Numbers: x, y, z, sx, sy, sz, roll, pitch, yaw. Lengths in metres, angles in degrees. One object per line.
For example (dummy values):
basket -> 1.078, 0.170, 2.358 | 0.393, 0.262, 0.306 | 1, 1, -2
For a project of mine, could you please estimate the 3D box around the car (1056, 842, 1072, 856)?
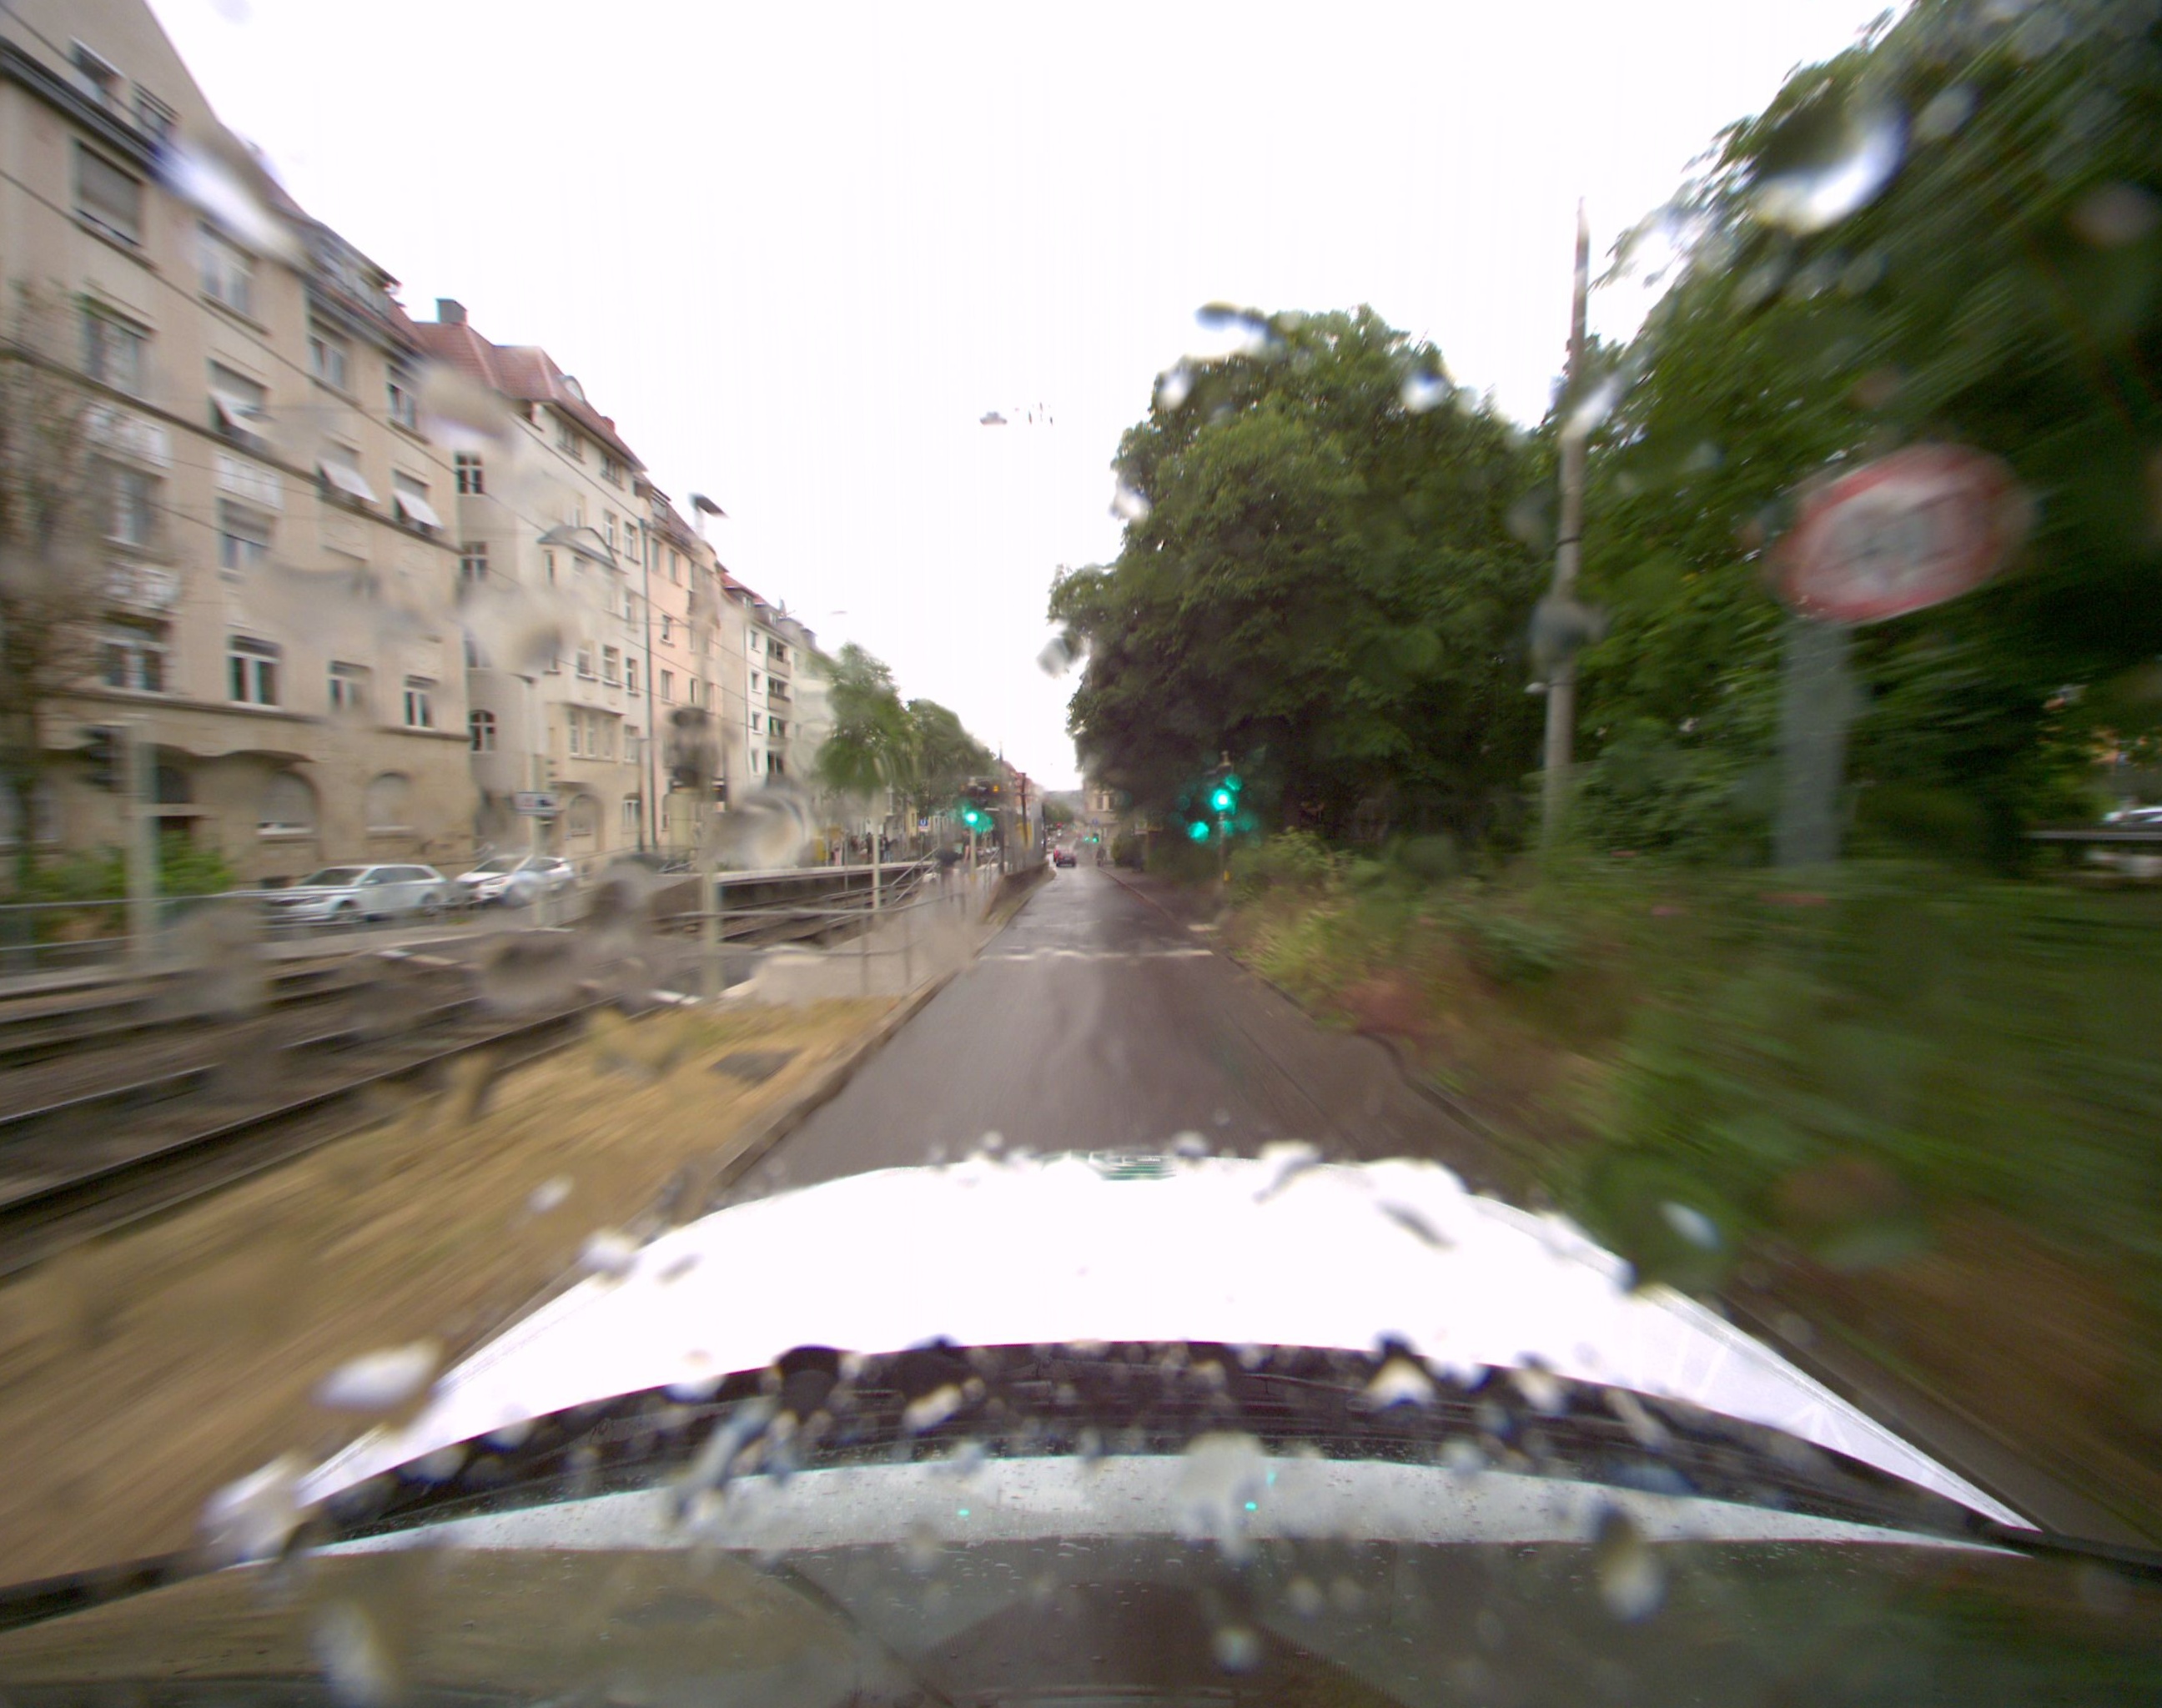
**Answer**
car -> -2.265, -0.673, 107.905 | 1.943, 1.793, 4.141 | -1, 0, -2

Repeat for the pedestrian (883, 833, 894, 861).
pedestrian -> -12.349, -0.434, 52.192 | 0.481, 1.741, 0.563 | -3, 0, -1

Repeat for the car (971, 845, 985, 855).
car -> -17.222, -0.727, 136.615 | 1.768, 1.546, 4.254 | -3, 1, 0

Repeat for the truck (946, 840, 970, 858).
truck -> -17.418, -0.720, 115.446 | 2.043, 2.393, 6.326 | -1, 0, 3

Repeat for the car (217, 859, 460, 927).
car -> -18.684, 0.923, 20.869 | 1.987, 1.533, 4.532 | 1, -1, 1

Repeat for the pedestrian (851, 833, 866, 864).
pedestrian -> -12.404, -0.313, 45.408 | 0.548, 1.666, 0.614 | -3, 0, -1

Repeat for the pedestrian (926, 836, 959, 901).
pedestrian -> -3.514, 0.353, 20.696 | 0.648, 1.561, 0.684 | -1, 5, 0

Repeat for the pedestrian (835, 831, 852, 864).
pedestrian -> -12.235, -0.316, 41.934 | 0.592, 1.666, 0.762 | -3, 0, 0

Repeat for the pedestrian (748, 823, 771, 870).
pedestrian -> -12.804, -0.294, 32.425 | 0.514, 1.838, 0.762 | -3, 0, 0

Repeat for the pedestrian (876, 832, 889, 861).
pedestrian -> -11.855, -0.453, 48.723 | 0.548, 1.741, 0.614 | -3, 0, -1

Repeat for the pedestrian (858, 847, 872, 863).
pedestrian -> -12.346, 0.059, 46.565 | 0.548, 0.872, 0.614 | -3, 0, -1

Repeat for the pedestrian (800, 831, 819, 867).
pedestrian -> -12.829, -0.216, 38.501 | 0.592, 1.666, 0.762 | -3, 0, 0

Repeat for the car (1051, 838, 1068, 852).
car -> -2.350, -0.981, 89.315 | 1.847, 1.473, 3.997 | -1, 0, -2

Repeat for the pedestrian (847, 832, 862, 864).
pedestrian -> -12.298, -0.316, 44.282 | 0.592, 1.666, 0.591 | -3, 0, -1

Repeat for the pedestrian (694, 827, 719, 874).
pedestrian -> -12.934, -0.126, 28.123 | 0.514, 1.605, 0.563 | -3, 0, -1

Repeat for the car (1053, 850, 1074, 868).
car -> -1.615, 0.426, 74.506 | 1.847, 1.473, 3.998 | -1, 1, -1

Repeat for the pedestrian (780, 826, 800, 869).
pedestrian -> -12.842, -0.297, 35.964 | 0.514, 1.838, 0.762 | -3, 0, 0

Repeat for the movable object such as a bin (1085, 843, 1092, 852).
movable object such as a bin -> 1.358, -1.157, 145.337 | 1.165, 1.655, 1.307 | -3, 1, -4

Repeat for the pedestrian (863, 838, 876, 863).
pedestrian -> -12.325, -0.215, 47.464 | 0.548, 1.413, 0.614 | -3, 0, -1

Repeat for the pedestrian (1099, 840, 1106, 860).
pedestrian -> 1.931, -0.337, 74.025 | 0.552, 1.813, 0.650 | -1, 0, -3

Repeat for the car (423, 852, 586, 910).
car -> -18.543, 0.798, 26.500 | 1.916, 1.622, 4.537 | -2, 1, 1

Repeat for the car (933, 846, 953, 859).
car -> -17.780, -0.193, 105.288 | 1.720, 1.515, 4.497 | -1, 1, 1

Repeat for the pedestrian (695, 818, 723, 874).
pedestrian -> -12.581, -0.264, 27.552 | 0.559, 1.850, 0.598 | -3, 0, -1

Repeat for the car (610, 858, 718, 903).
car -> -17.948, 1.082, 35.353 | 1.985, 1.732, 4.817 | -2, 0, 2

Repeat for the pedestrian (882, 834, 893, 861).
pedestrian -> -12.532, -0.426, 52.779 | 0.481, 1.741, 0.563 | -3, 0, -1

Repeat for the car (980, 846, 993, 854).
car -> -17.163, -0.735, 148.052 | 1.767, 1.488, 4.255 | -3, 0, 0

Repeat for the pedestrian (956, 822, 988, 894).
pedestrian -> -2.851, 0.093, 21.331 | 0.648, 1.783, 0.848 | -1, 6, 0

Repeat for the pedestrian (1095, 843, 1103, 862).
pedestrian -> 1.608, -0.140, 73.392 | 0.693, 1.695, 0.555 | -1, 0, -1

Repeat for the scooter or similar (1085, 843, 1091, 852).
scooter or similar -> 1.300, -1.123, 143.827 | 0.917, 1.604, 0.861 | -2, 1, -5
